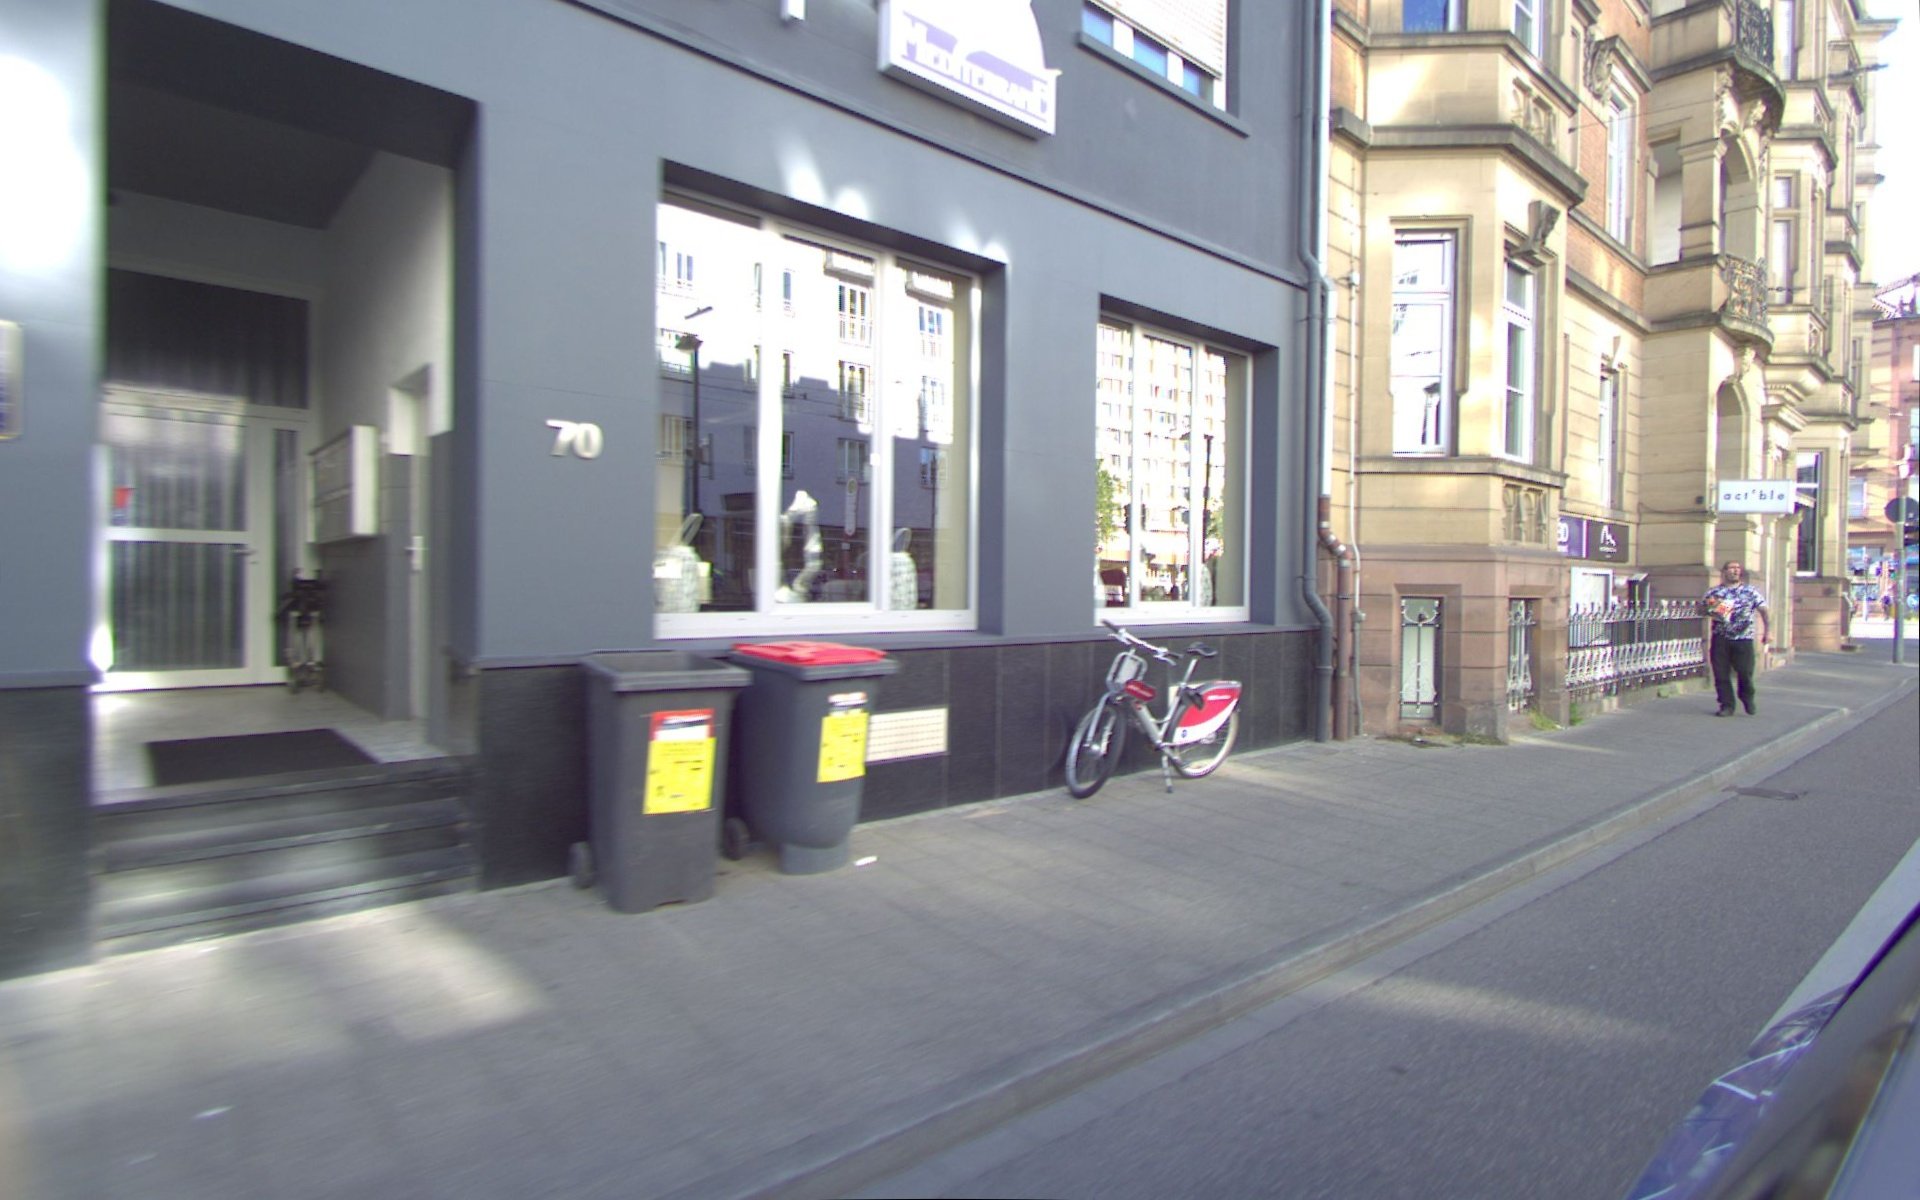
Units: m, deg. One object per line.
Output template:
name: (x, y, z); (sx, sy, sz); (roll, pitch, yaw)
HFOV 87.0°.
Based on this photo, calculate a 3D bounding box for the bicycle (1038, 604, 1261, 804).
bicycle: (1.303, 0.619, 6.743); (1.742, 1.137, 0.460); (-1, 2, -41)

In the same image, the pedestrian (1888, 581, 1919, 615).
pedestrian: (47.734, -0.097, 51.070); (0.907, 1.652, 0.943); (-1, 2, -4)

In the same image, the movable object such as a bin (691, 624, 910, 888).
movable object such as a bin: (-0.775, 0.687, 4.872); (0.740, 1.048, 0.750); (-1, 5, -40)

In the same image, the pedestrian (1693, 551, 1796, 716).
pedestrian: (8.990, 0.366, 11.586); (1.075, 1.772, 0.780); (2, -1, -44)

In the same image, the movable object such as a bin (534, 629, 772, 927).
movable object such as a bin: (-1.340, 0.698, 4.388); (0.740, 1.048, 0.750); (-1, 5, -40)

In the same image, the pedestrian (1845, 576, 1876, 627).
pedestrian: (30.704, 0.042, 34.511); (0.621, 1.675, 0.702); (-2, 2, -40)
